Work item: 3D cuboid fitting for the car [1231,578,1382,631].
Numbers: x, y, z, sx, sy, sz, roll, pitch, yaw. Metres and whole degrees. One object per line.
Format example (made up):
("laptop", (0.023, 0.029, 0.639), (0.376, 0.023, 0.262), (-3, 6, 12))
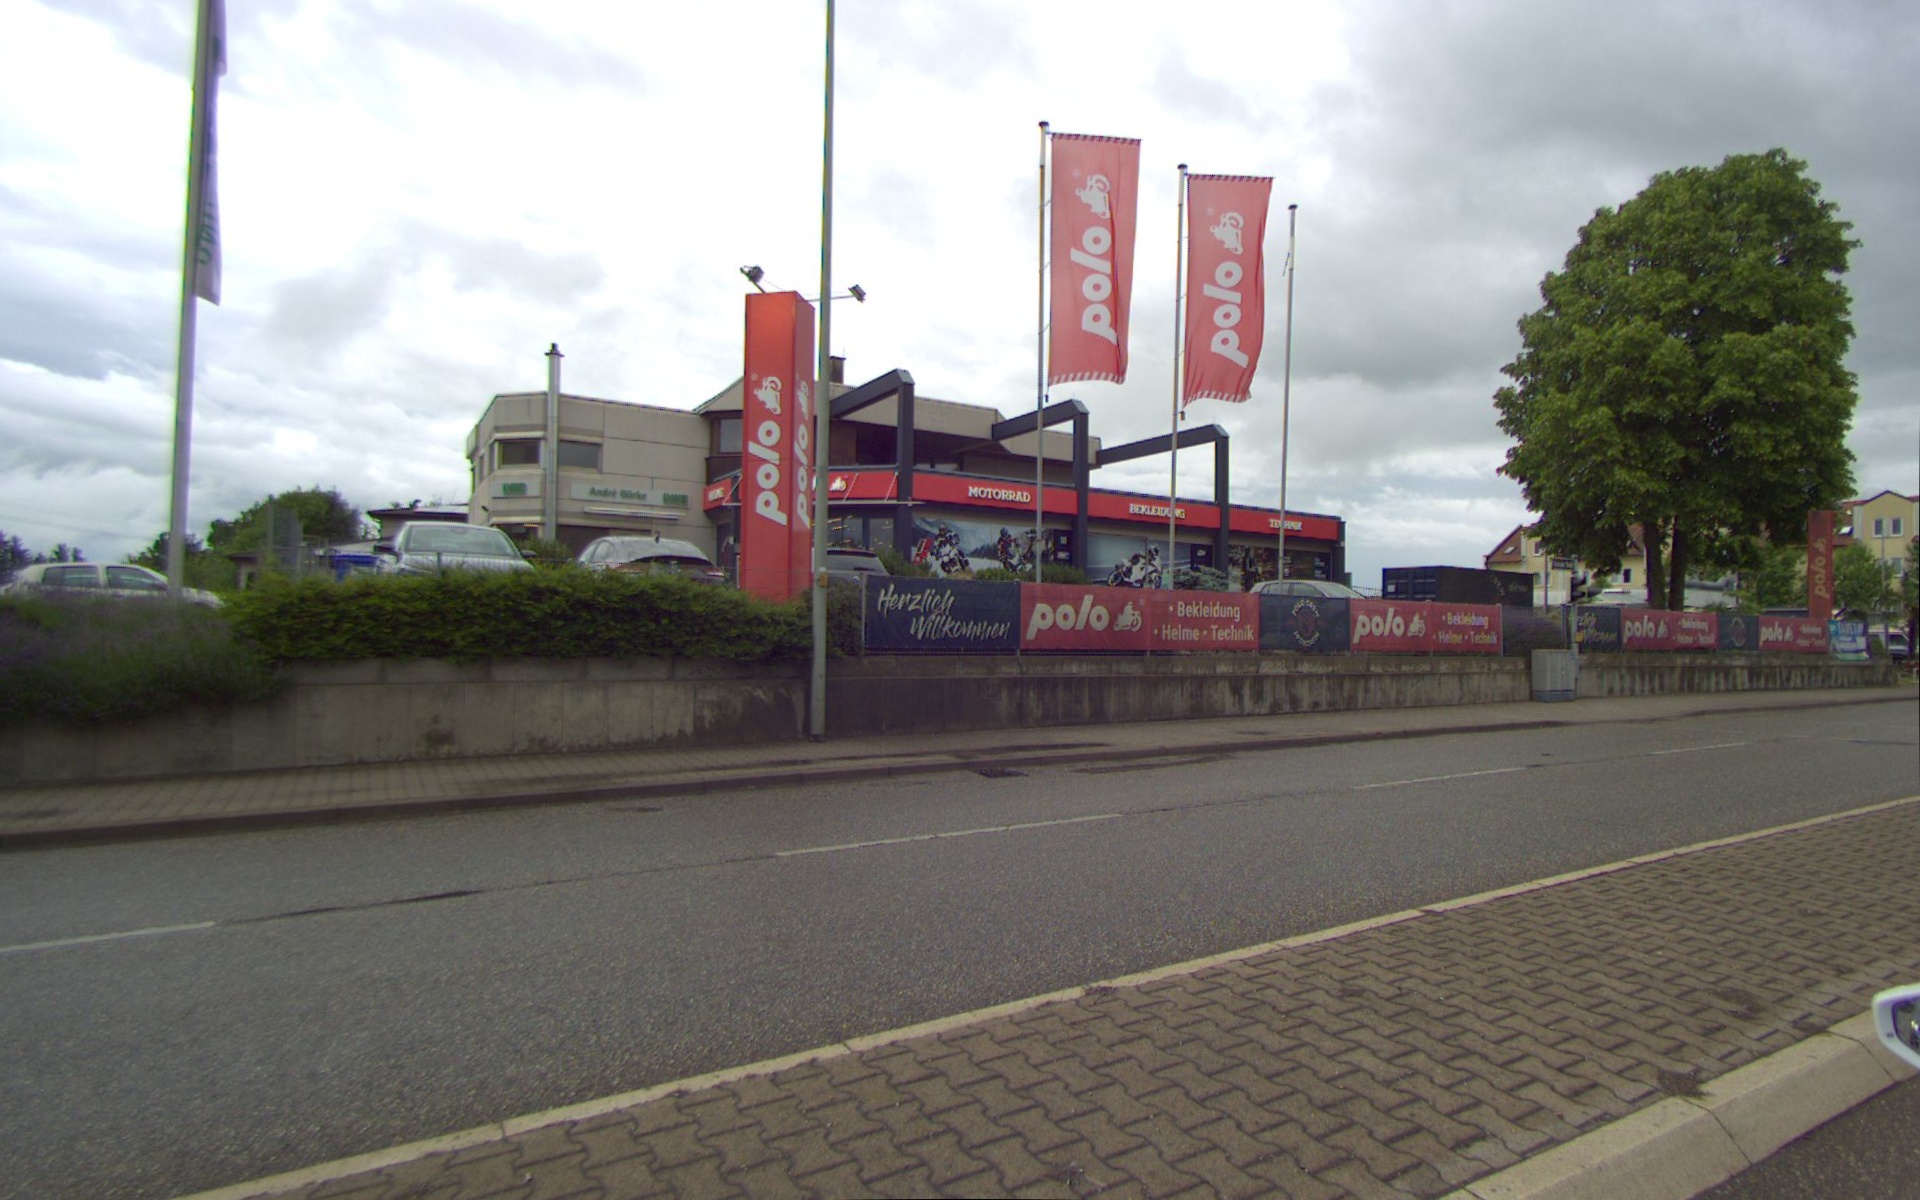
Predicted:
("car", (8.408, 0.146, 24.616), (1.438, 1.183, 3.368), (1, -2, -32))

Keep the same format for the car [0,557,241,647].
("car", (-16.152, 0.084, 19.552), (3.346, 1.617, 1.520), (1, -1, -30))

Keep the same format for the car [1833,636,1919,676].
("car", (42.533, 2.509, 44.926), (4.927, 1.724, 1.996), (-2, -6, 32))

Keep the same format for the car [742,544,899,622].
("car", (-2.469, -0.217, 17.214), (1.438, 1.183, 3.368), (1, -2, -32))

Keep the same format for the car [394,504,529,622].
("car", (-6.756, -0.391, 13.531), (1.436, 1.355, 3.371), (1, -2, -29))

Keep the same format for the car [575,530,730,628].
("car", (-4.726, -0.239, 15.177), (1.438, 1.294, 3.368), (1, -2, -32))

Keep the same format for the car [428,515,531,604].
("car", (-9.372, -0.711, 19.479), (1.438, 1.492, 3.368), (1, -2, -32))

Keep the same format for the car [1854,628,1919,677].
("car", (41.004, 2.204, 42.574), (4.324, 2.040, 1.996), (-2, -3, 32))
